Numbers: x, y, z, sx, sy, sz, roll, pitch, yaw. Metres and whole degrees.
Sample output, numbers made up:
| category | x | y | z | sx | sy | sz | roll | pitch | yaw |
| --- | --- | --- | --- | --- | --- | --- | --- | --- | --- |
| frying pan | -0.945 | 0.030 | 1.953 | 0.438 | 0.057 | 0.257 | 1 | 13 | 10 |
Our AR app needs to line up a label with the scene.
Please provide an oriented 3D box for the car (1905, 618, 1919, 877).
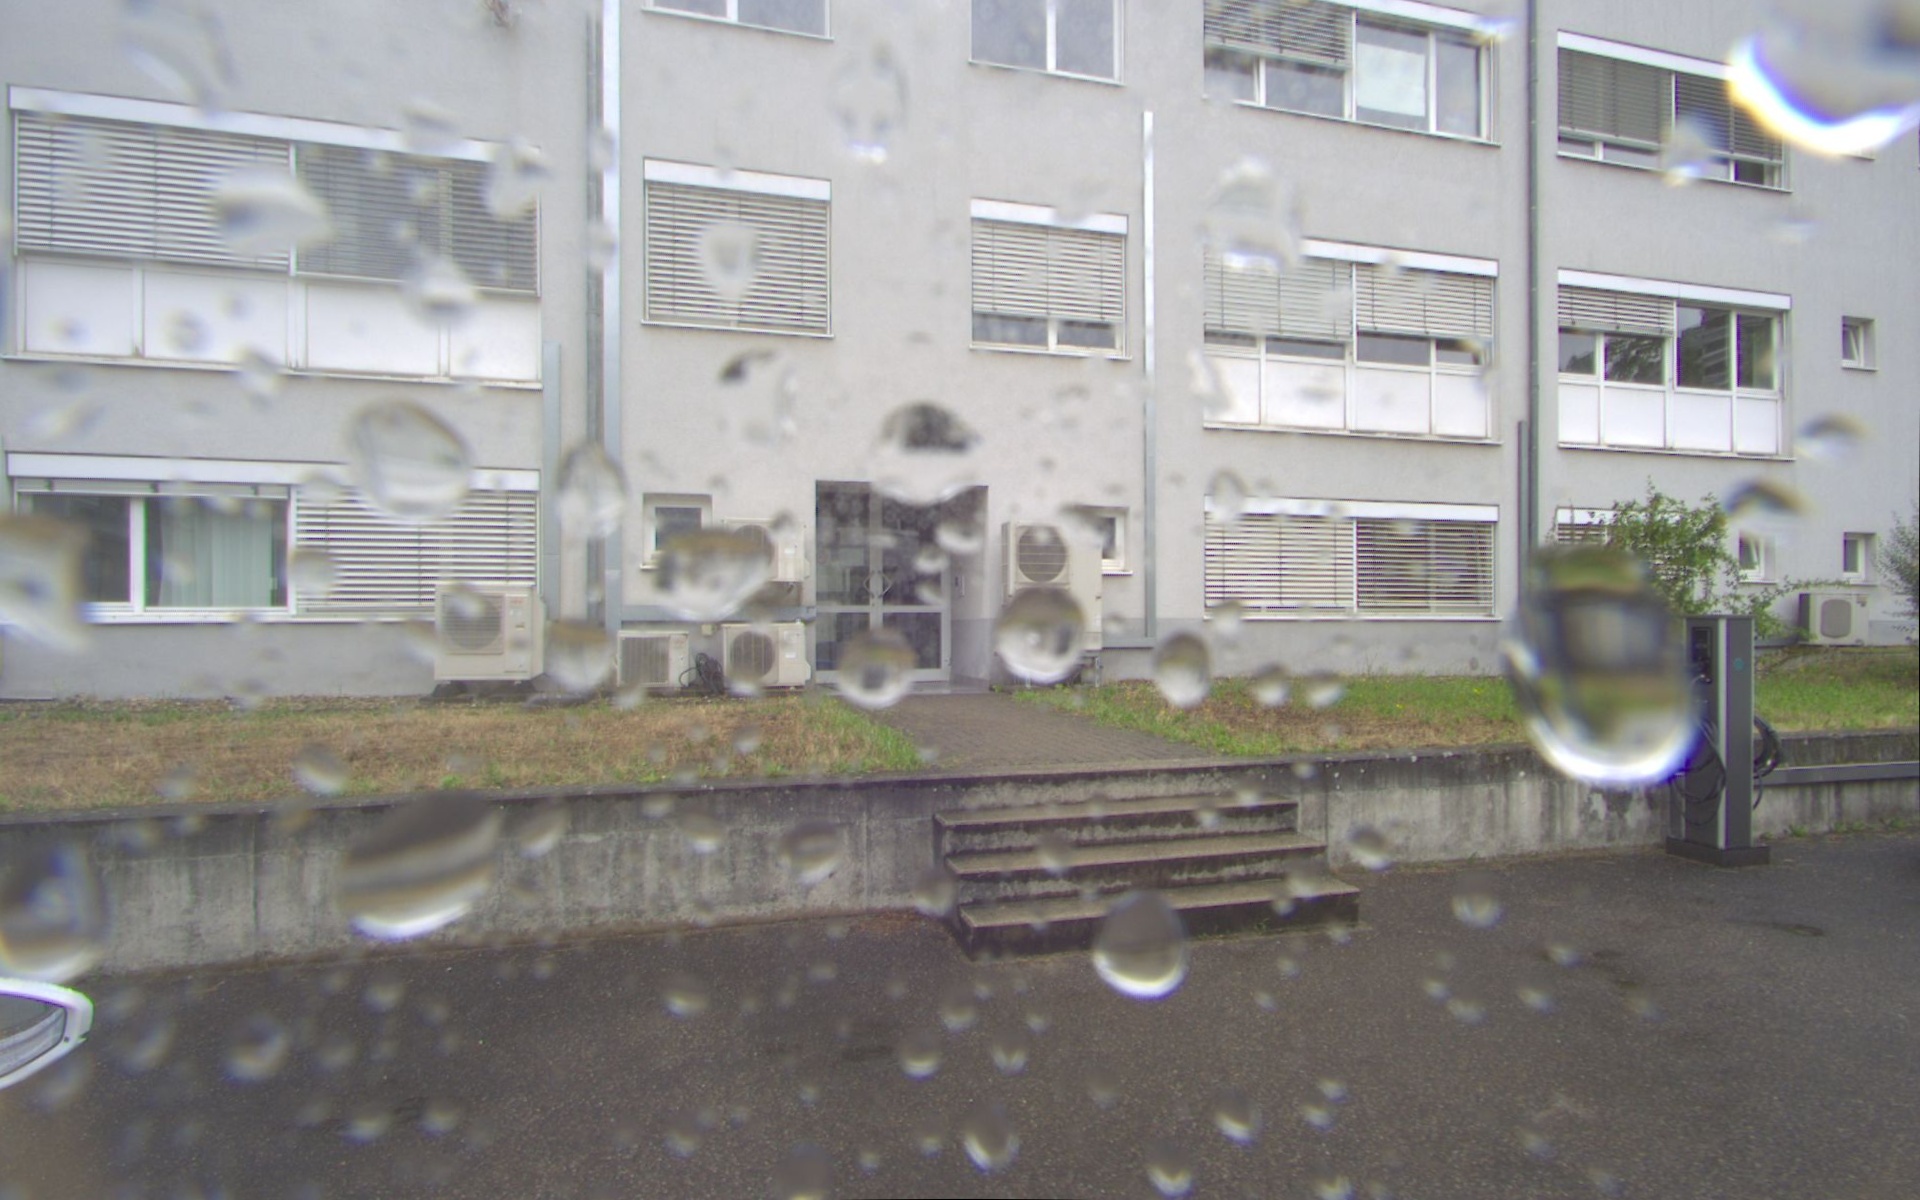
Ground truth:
| category | x | y | z | sx | sy | sz | roll | pitch | yaw |
| --- | --- | --- | --- | --- | --- | --- | --- | --- | --- |
| car | 6.991 | 0.817 | 4.072 | 1.963 | 1.508 | 4.218 | 1 | -2 | -13 |
